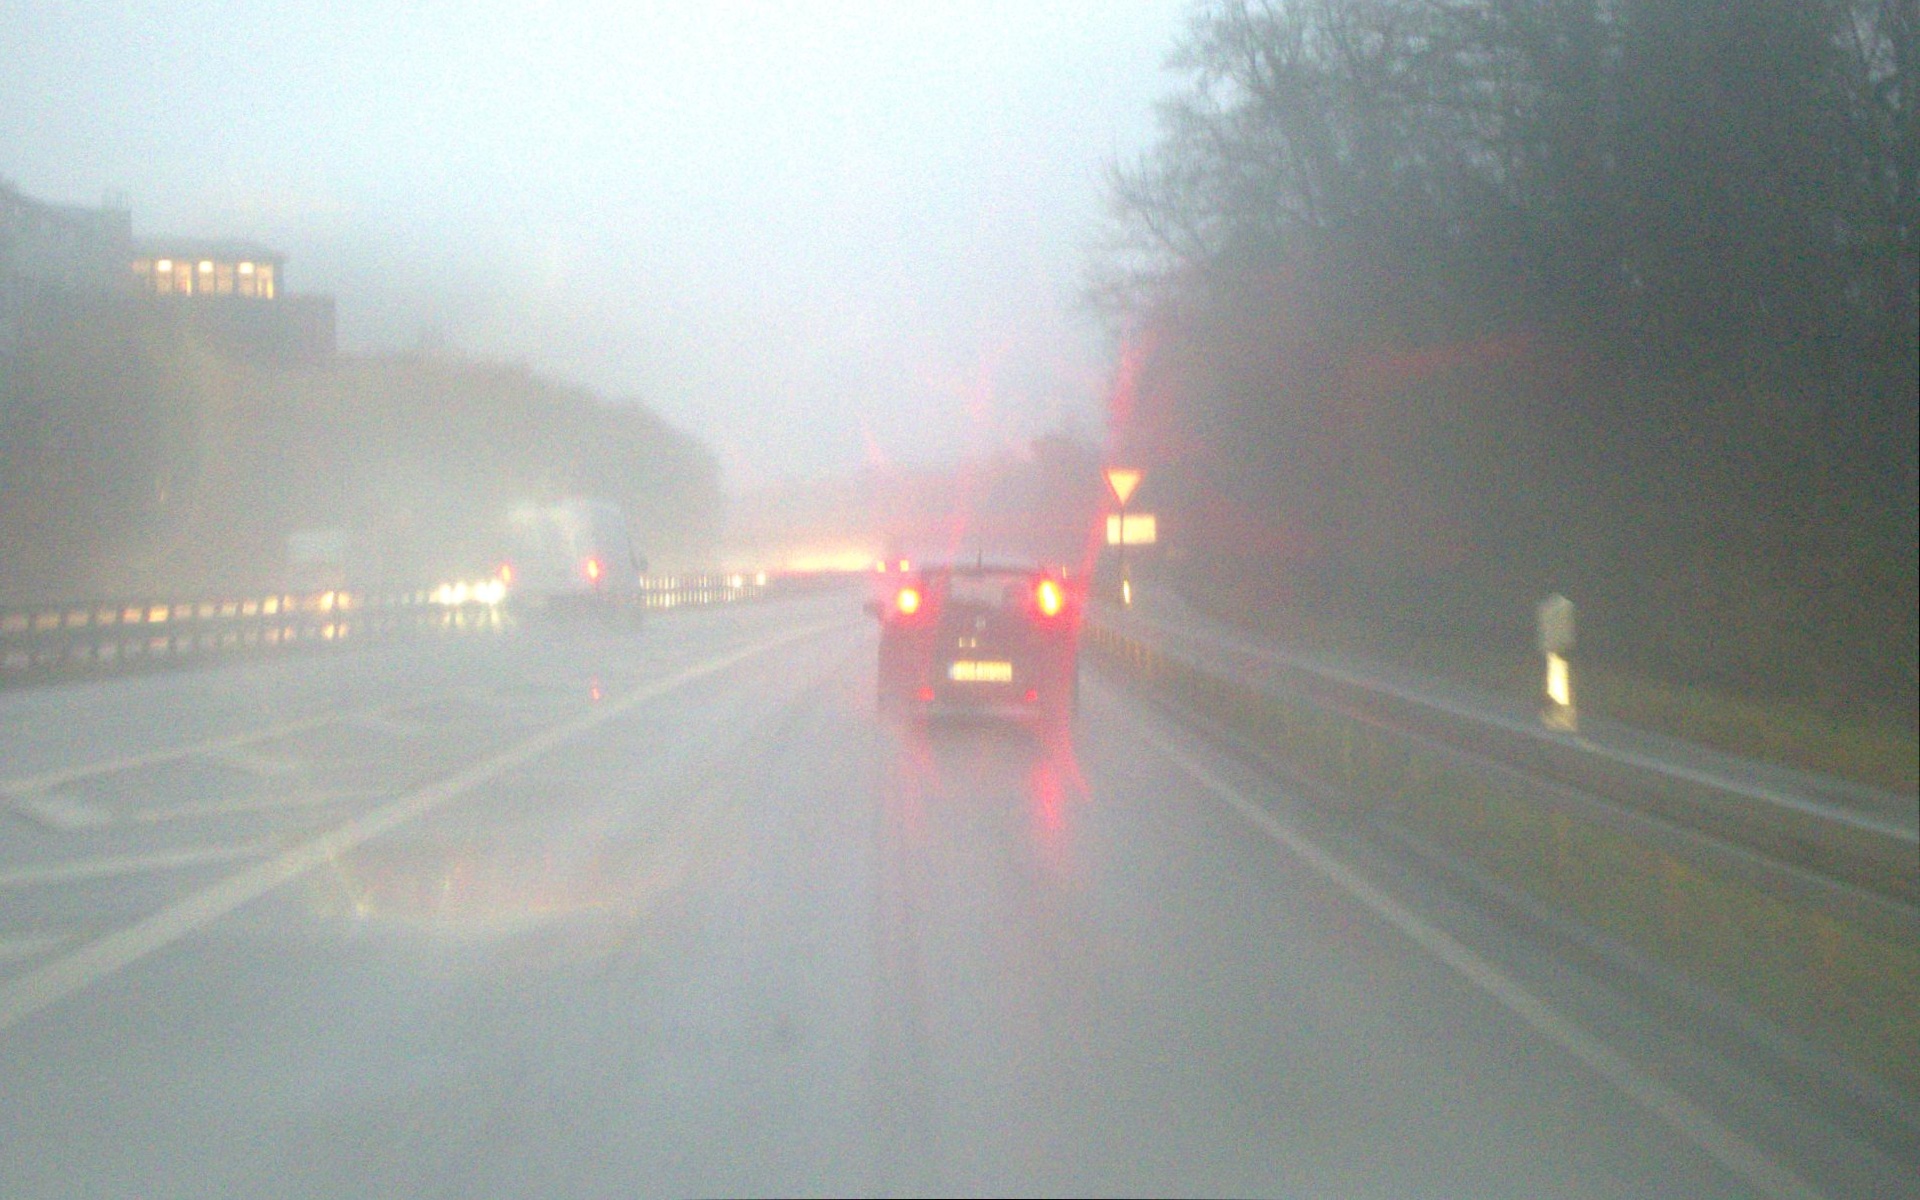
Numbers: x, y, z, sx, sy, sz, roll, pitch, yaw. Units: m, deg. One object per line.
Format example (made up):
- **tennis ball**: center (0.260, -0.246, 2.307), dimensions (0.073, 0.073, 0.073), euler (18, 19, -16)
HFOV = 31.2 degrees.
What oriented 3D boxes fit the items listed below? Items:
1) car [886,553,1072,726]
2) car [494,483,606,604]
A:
- **car**: center (0.162, 0.303, 30.179), dimensions (1.527, 1.411, 3.479), euler (0, 1, 0)
- **car**: center (-8.575, -1.191, 72.198), dimensions (2.000, 2.445, 4.000), euler (1, 1, -2)
